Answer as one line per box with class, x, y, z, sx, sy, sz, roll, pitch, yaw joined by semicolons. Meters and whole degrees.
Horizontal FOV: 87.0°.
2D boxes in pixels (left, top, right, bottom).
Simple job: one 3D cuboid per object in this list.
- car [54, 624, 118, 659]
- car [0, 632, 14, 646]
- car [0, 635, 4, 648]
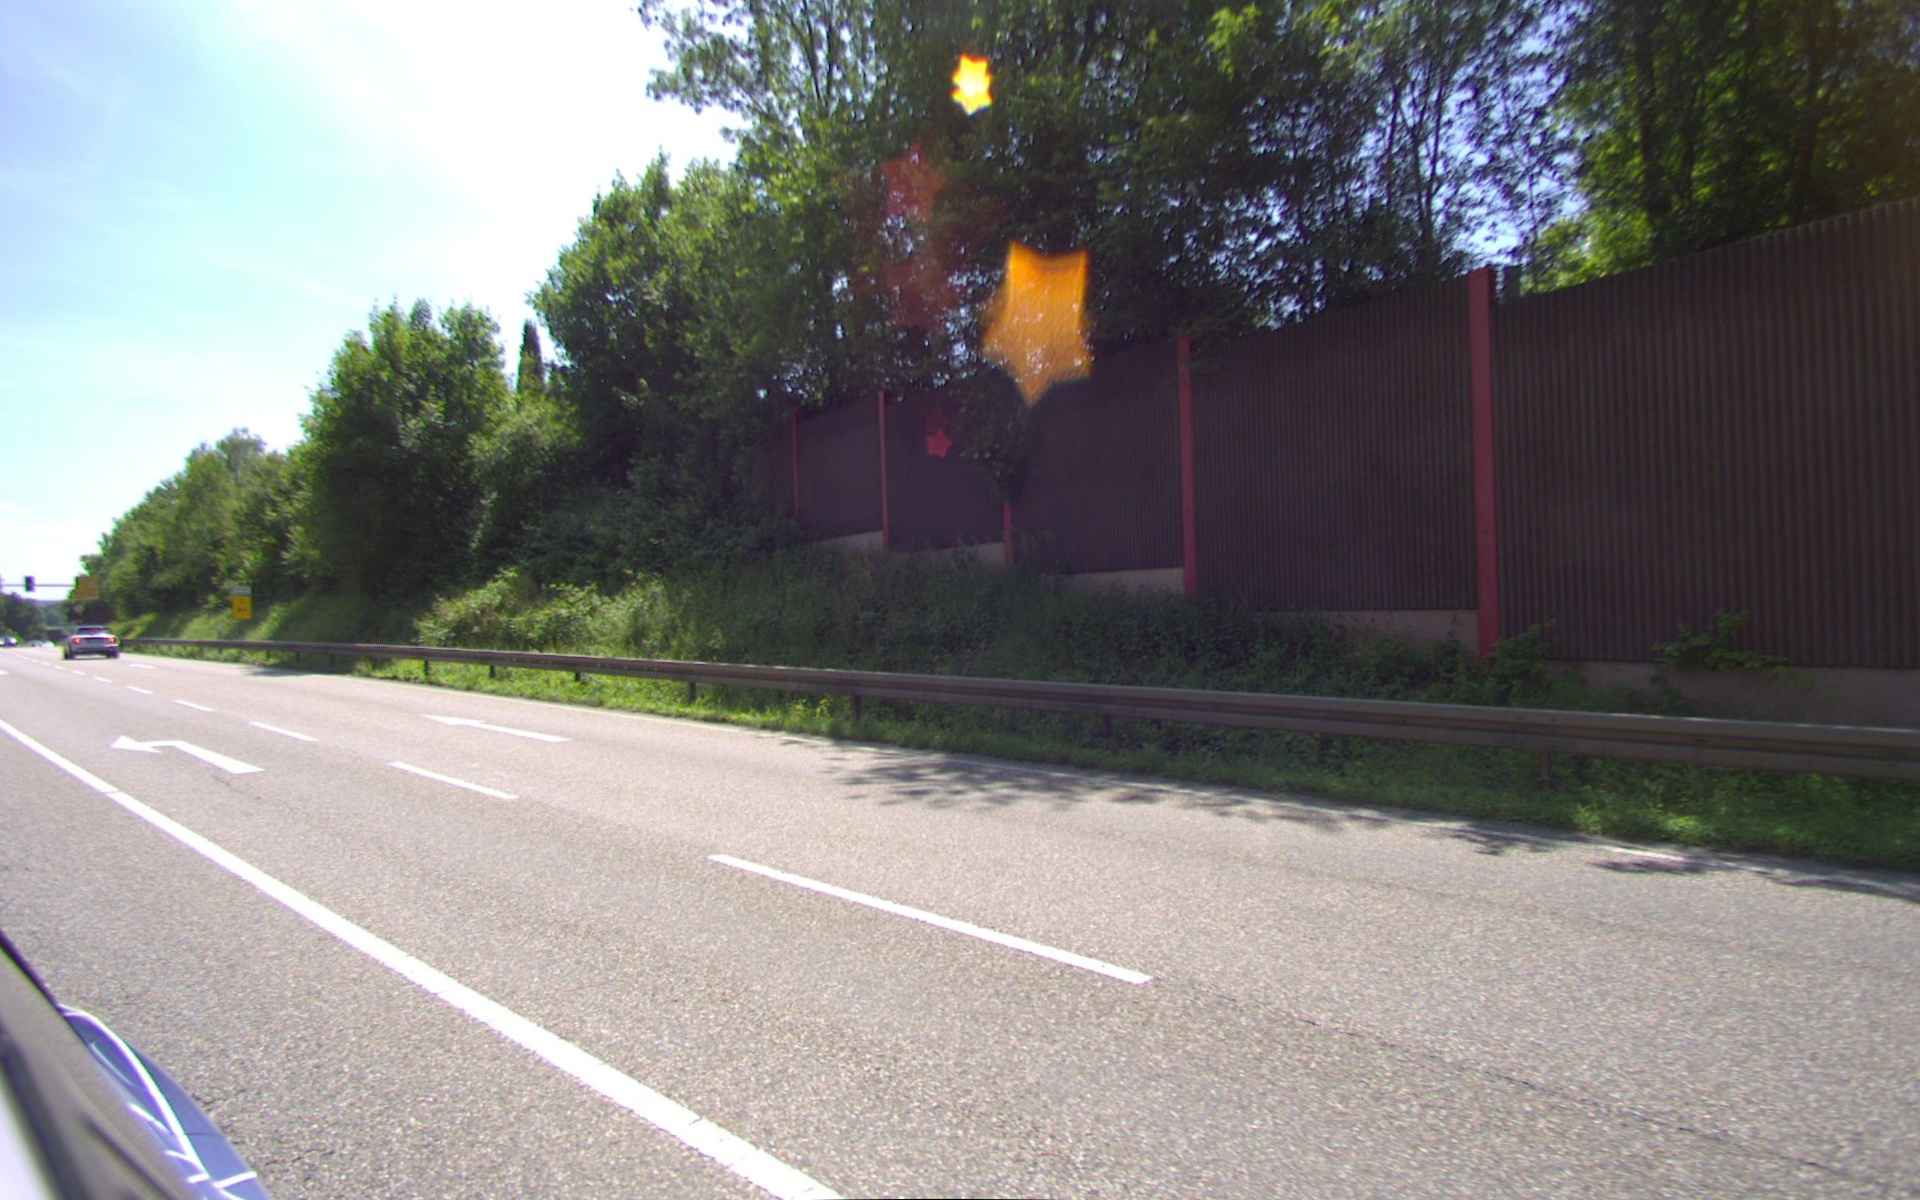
car;-38.519;1.787;44.569;3.872;1.446;1.786;-2;-2;44
car;-149.541;6.165;158.451;1.969;2.029;4.005;-3;0;-41
car;-141.337;6.124;147.955;1.969;1.815;4.005;-3;0;-41
